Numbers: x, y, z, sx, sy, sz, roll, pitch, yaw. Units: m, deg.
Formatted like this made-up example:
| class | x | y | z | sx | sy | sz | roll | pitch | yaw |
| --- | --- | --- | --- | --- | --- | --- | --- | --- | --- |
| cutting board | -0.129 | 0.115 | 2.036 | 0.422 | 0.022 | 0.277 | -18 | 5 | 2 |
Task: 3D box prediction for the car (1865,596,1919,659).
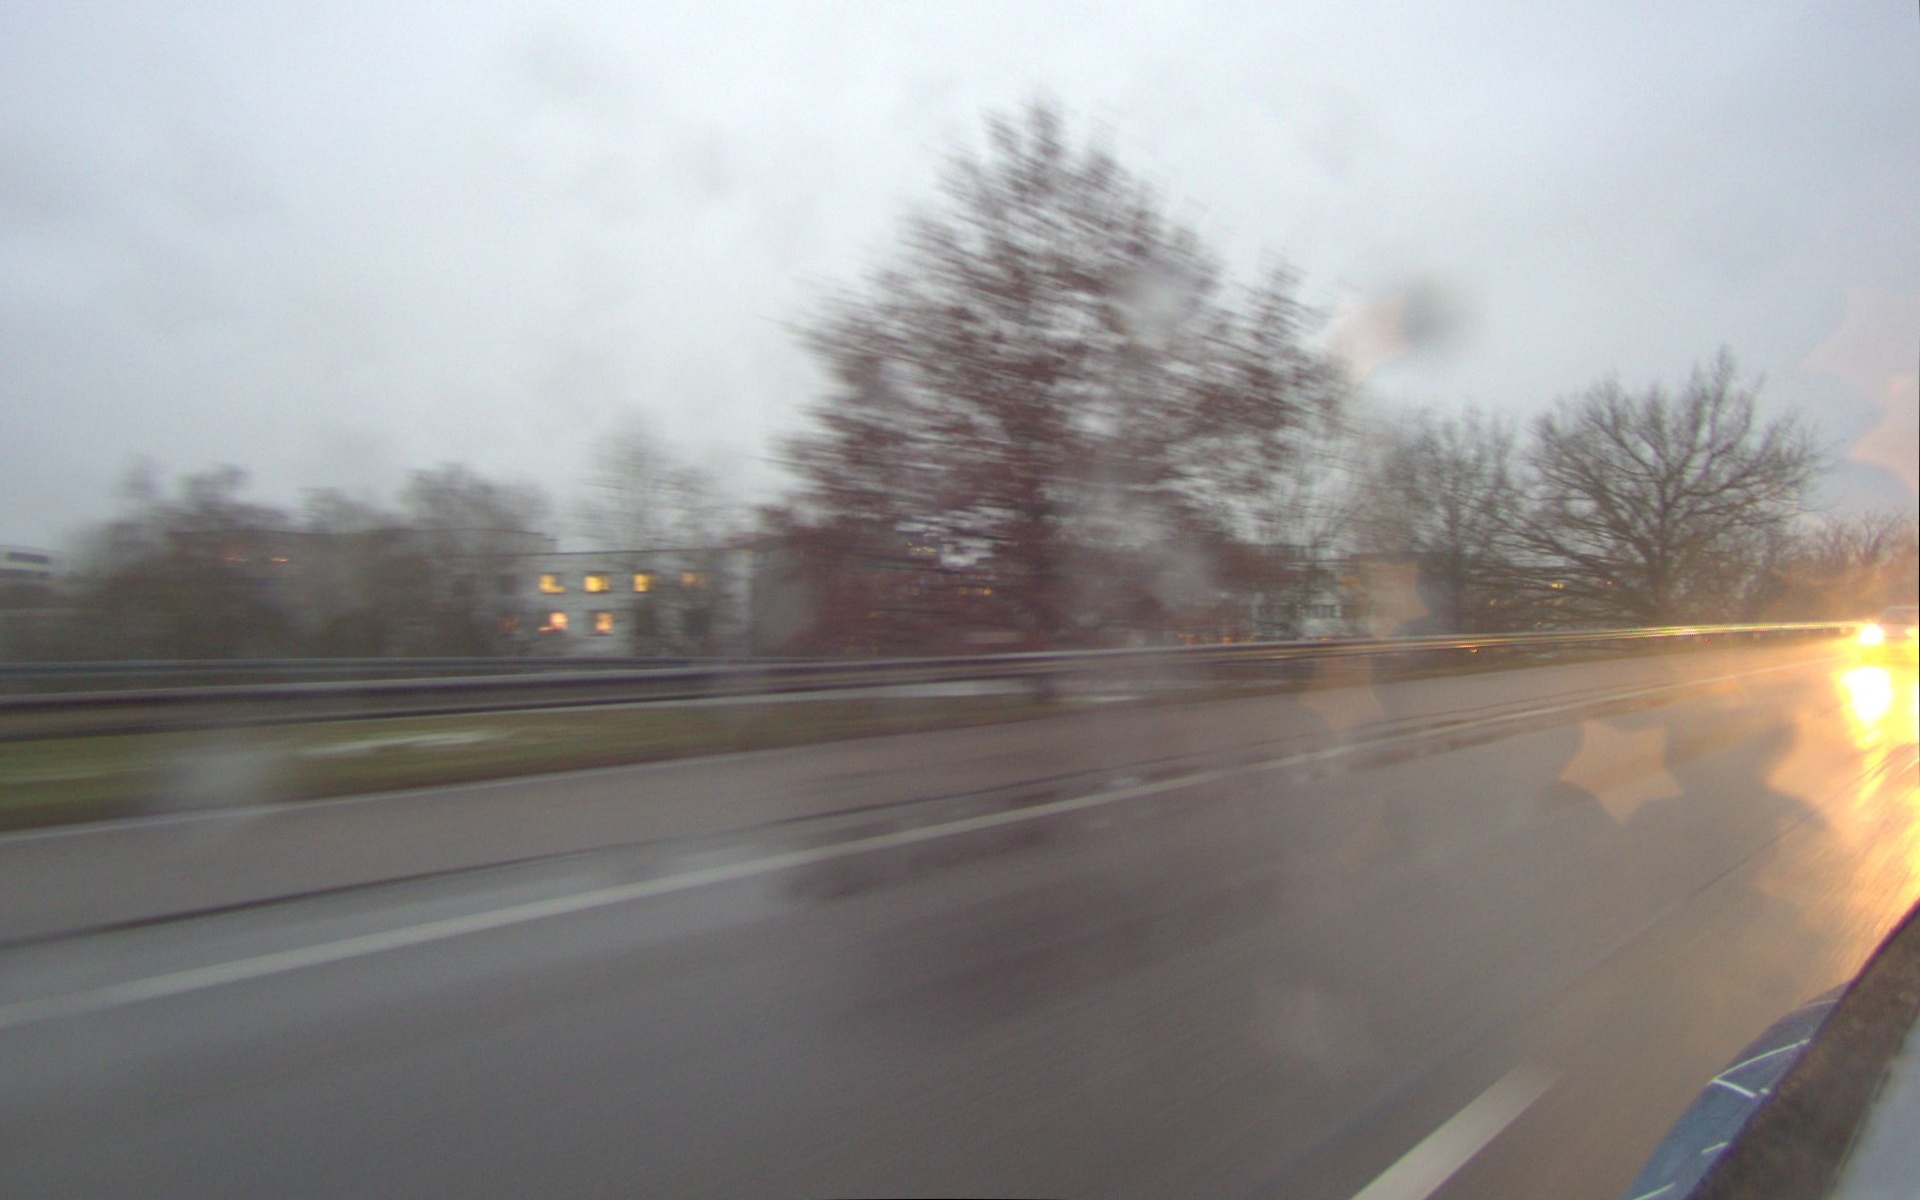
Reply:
| class | x | y | z | sx | sy | sz | roll | pitch | yaw |
| --- | --- | --- | --- | --- | --- | --- | --- | --- | --- |
| car | 25.331 | 0.705 | 26.467 | 4.073 | 1.549 | 1.850 | 1 | 0 | -39 |
